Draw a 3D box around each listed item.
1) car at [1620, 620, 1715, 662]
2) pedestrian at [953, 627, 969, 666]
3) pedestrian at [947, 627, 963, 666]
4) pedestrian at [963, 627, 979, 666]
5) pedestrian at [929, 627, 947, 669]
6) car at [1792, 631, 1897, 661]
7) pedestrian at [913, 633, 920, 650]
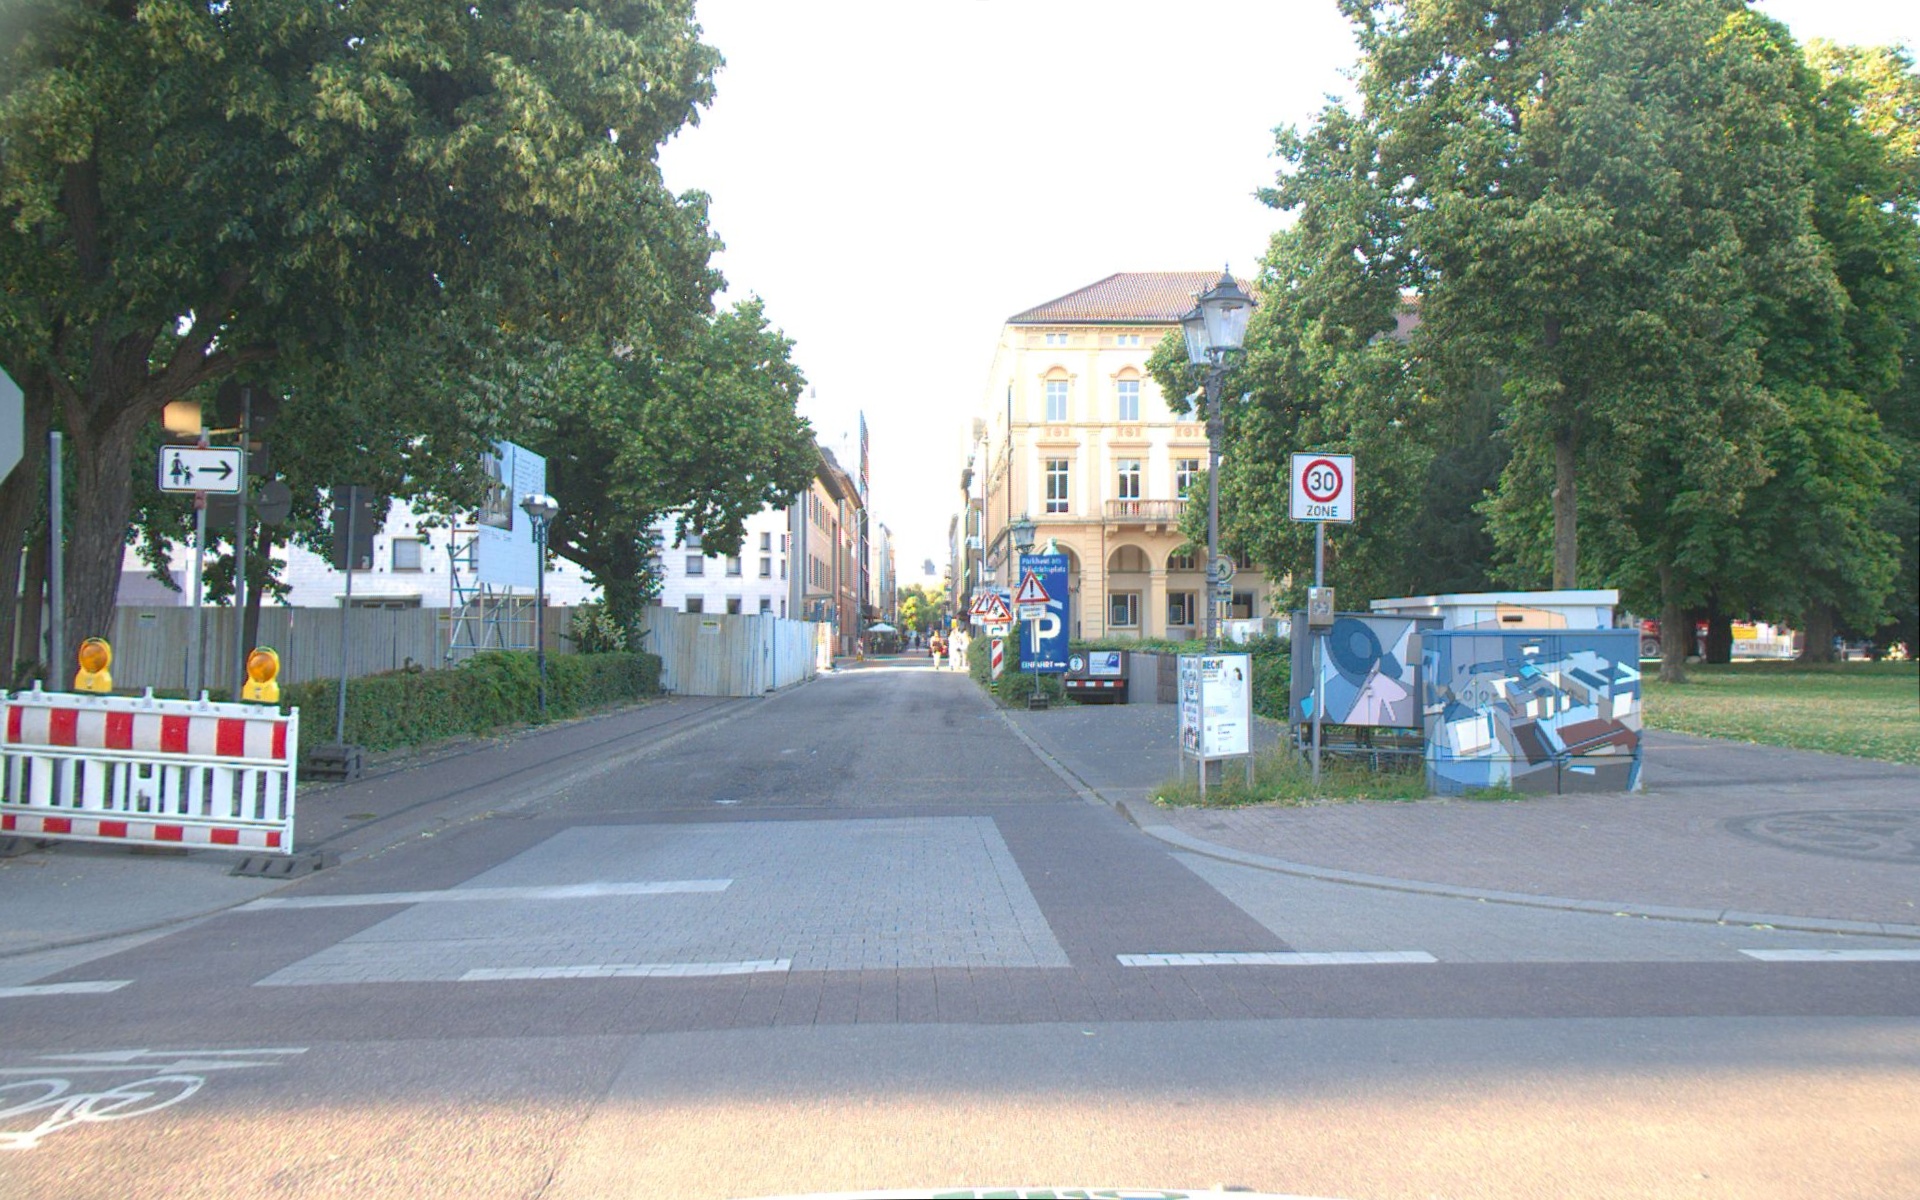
[{"bbox_3d":[35.659,2.046,83.438,3.949,2.049,2.000,-1,-1,0],"label":"car"},{"bbox_3d":[0.039,2.032,72.202,0.644,1.664,0.745,-1,-1,-1],"label":"pedestrian"},{"bbox_3d":[-0.223,1.995,71.116,0.644,1.645,0.745,-1,-1,-1],"label":"pedestrian"},{"bbox_3d":[0.459,2.007,71.172,0.644,1.645,0.745,-1,-1,-1],"label":"pedestrian"},{"bbox_3d":[-0.951,2.091,72.232,0.643,1.791,0.746,-1,-1,8],"label":"pedestrian"},{"bbox_3d":[38.412,1.983,71.861,3.506,1.262,1.996,0,-1,-8],"label":"car"},{"bbox_3d":[-4.723,4.545,180.822,0.743,1.866,0.745,-1,-1,-1],"label":"pedestrian"}]
